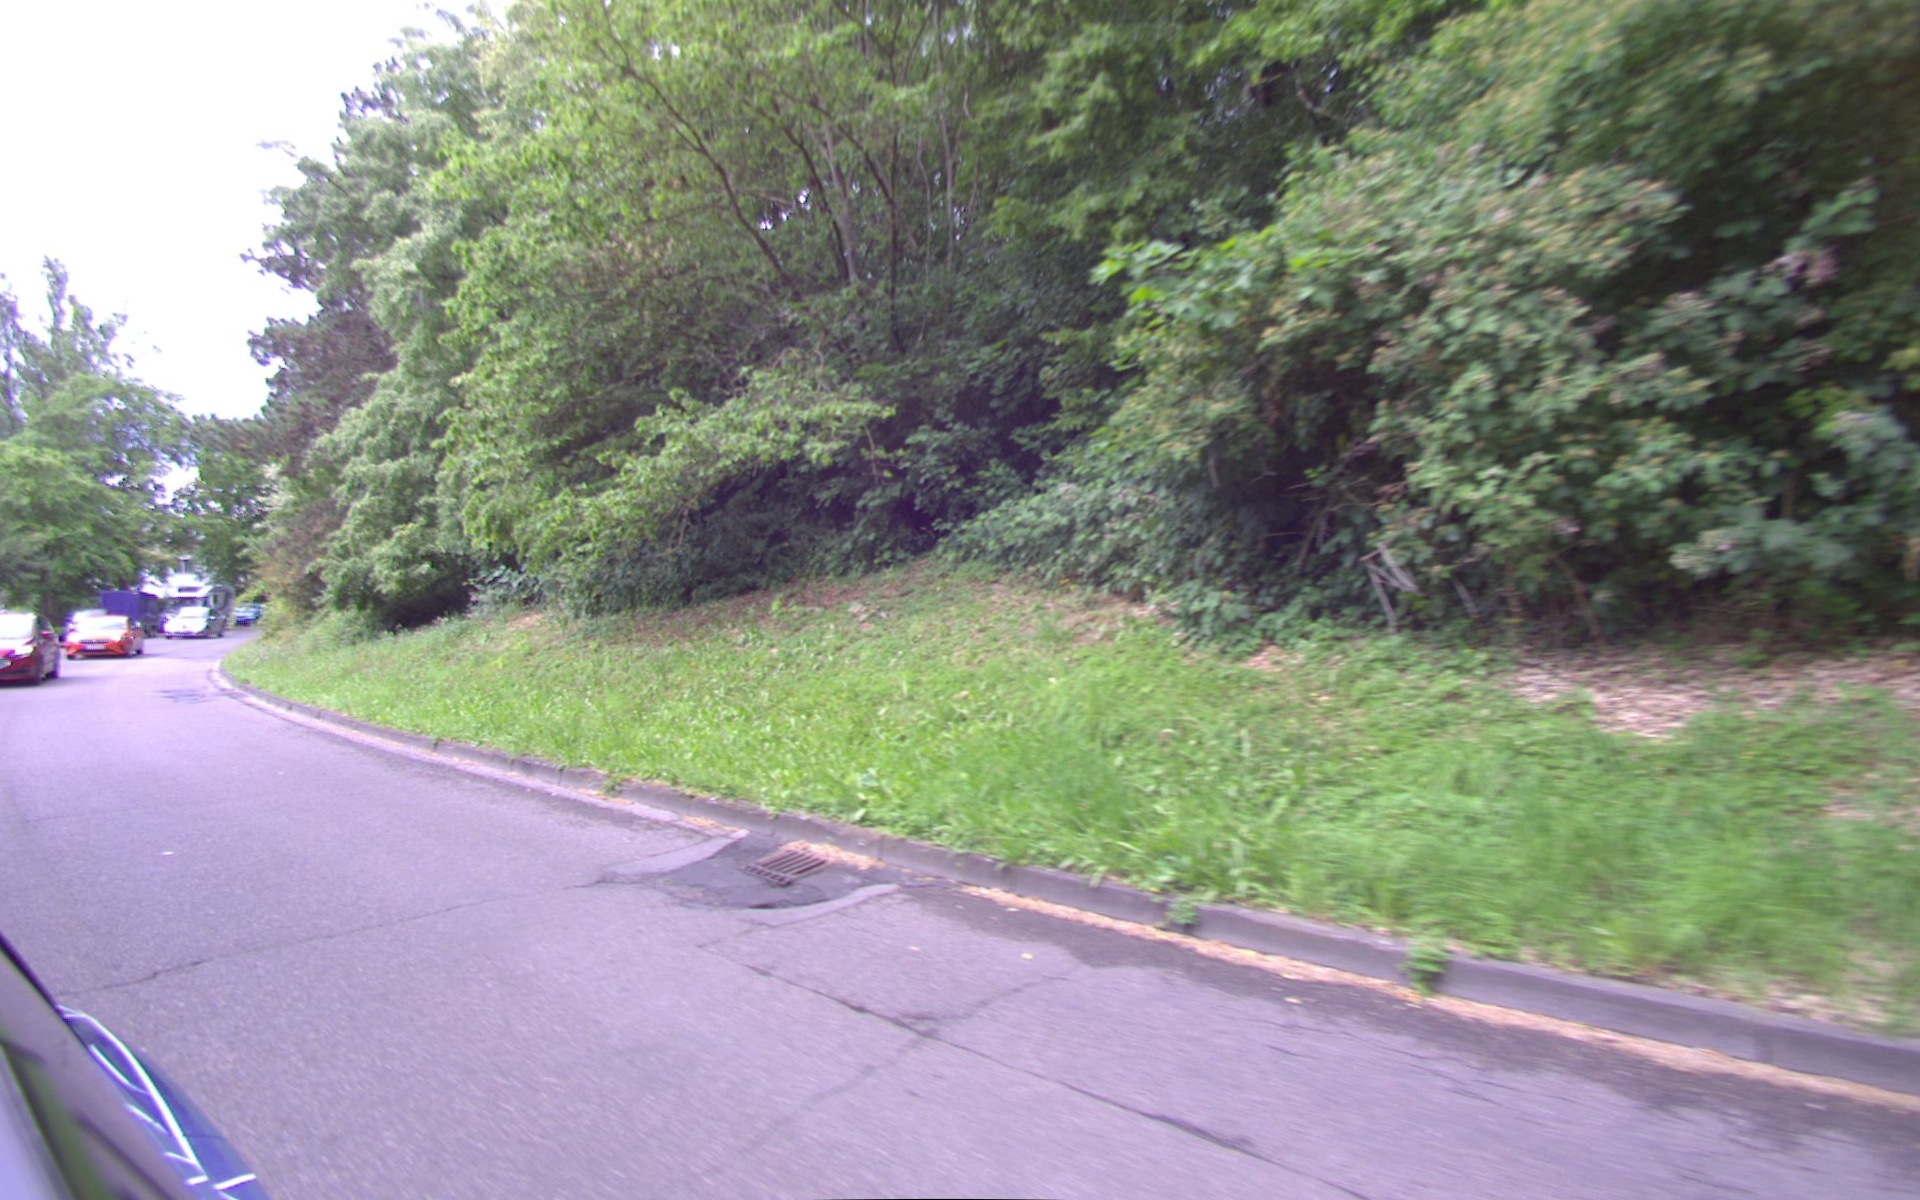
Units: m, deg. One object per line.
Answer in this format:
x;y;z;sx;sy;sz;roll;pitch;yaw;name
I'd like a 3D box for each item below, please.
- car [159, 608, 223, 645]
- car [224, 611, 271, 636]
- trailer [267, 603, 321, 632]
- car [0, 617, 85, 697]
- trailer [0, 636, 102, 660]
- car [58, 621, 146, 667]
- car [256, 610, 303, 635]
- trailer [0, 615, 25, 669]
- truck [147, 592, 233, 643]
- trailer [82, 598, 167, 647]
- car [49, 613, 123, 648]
-39.191;1.311;51.649;1.891;1.694;4.013;1;0;-27;car
-50.483;1.642;71.741;1.671;1.559;3.780;-1;1;-18;car
-53.187;1.353;80.922;1.966;1.947;5.912;-1;2;-17;trailer
-22.146;1.276;23.286;1.965;1.640;4.641;-2;1;-27;car
-37.843;1.978;42.199;2.075;0.656;6.421;-2;1;-30;trailer
-30.055;1.581;35.570;1.837;1.460;4.187;0;-3;-33;car
-46.823;1.499;69.720;1.739;1.529;4.013;-2;1;-20;car
-33.839;1.450;34.727;1.748;1.744;4.663;1;0;-33;trailer
-47.035;1.024;62.027;2.271;2.955;7.056;0;0;-21;truck
-42.714;1.203;51.889;2.077;2.380;4.716;1;-2;-23;trailer
-40.866;1.423;47.408;1.705;1.534;3.416;-1;-1;-25;car
